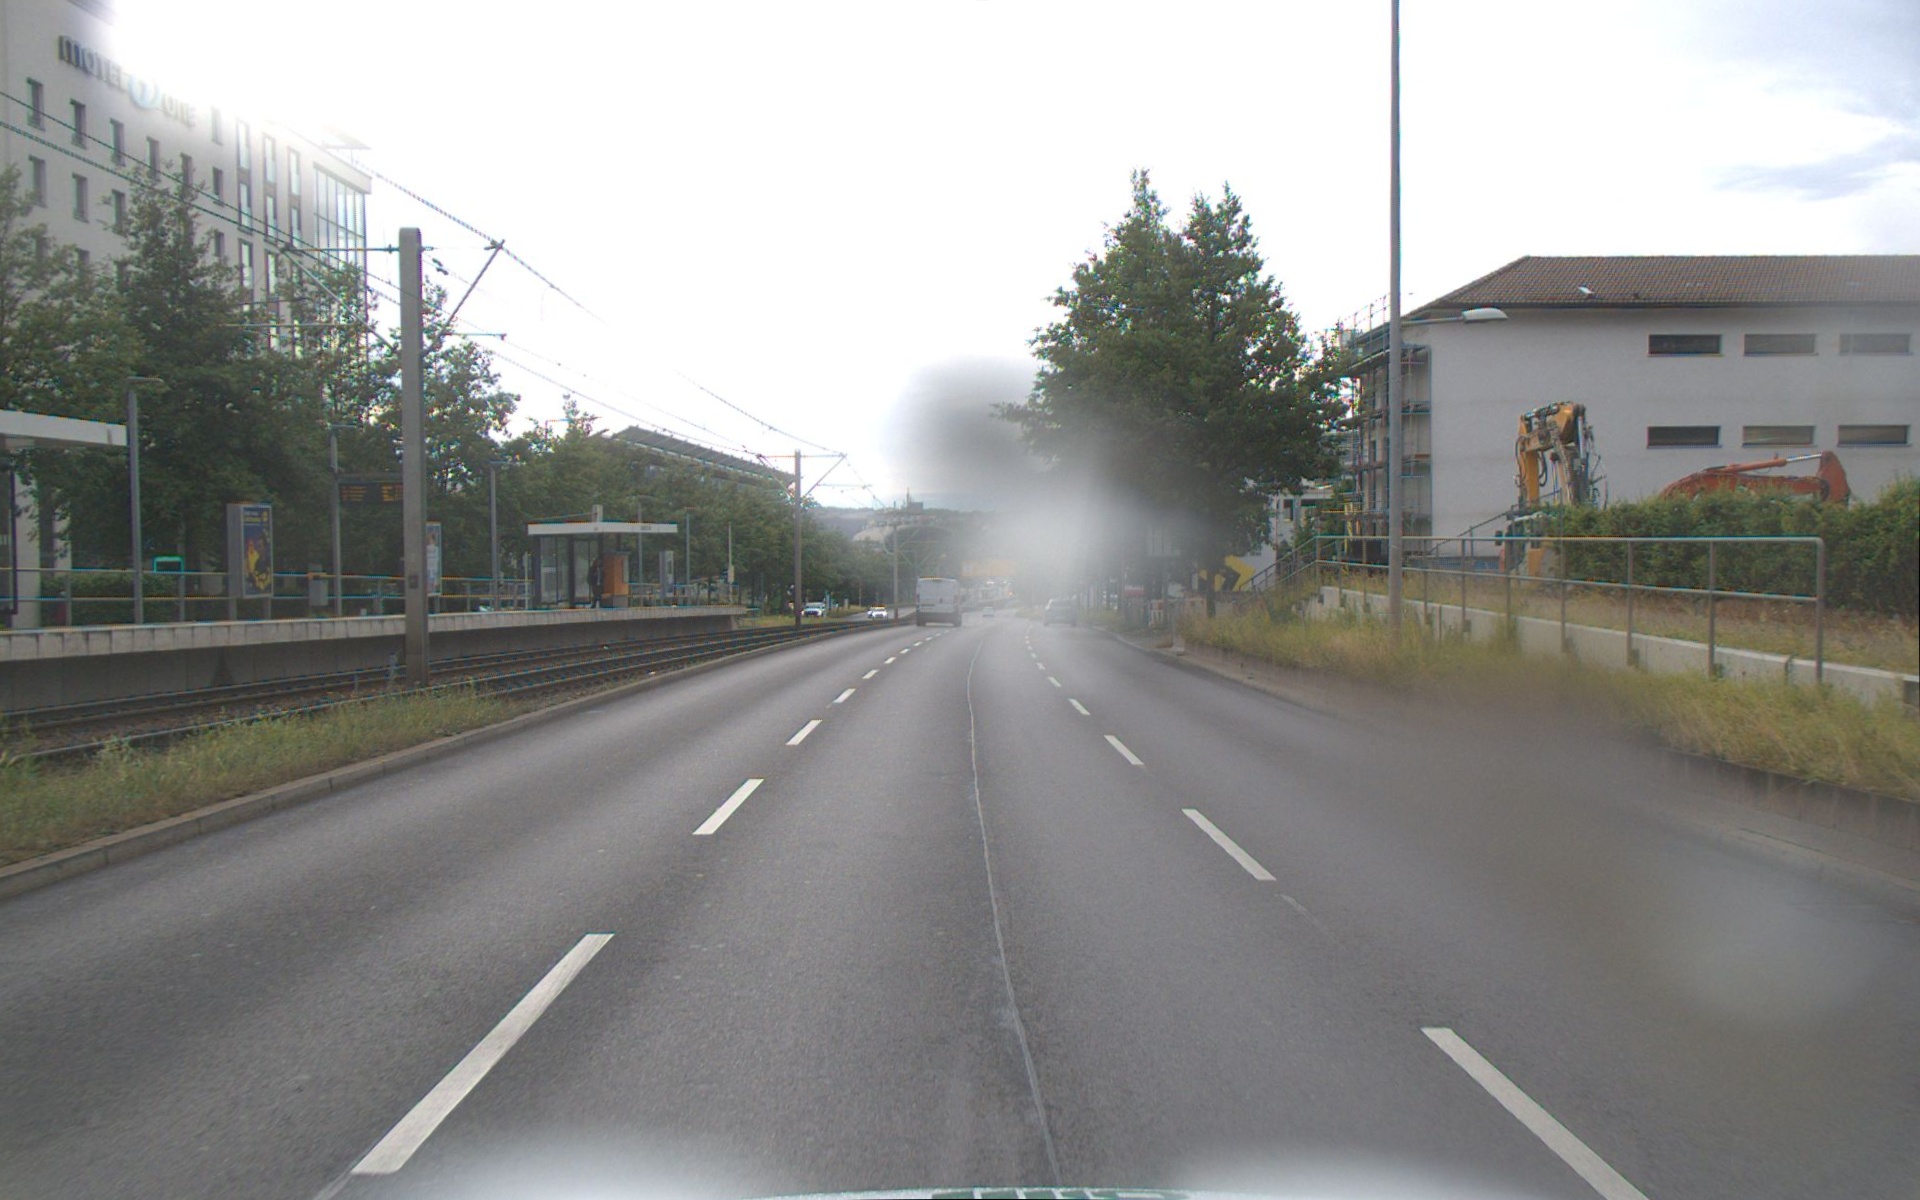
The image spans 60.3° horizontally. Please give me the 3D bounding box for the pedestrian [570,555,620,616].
[{"bbox_3d":[-12.608,-0.496,57.187,1.111,2.049,1.261,0,-1,44],"label":"pedestrian"}]

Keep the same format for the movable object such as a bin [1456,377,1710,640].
[{"bbox_3d":[15.197,-1.993,41.225,3.222,5.784,8.765,1,-1,2],"label":"movable object such as a bin"}]

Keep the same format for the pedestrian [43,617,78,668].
[{"bbox_3d":[-28.797,1.350,52.976,0.588,1.605,0.835,1,-1,1],"label":"pedestrian"}]

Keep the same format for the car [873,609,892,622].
[{"bbox_3d":[-9.294,1.884,197.758,1.799,1.469,4.430,-2,0,2],"label":"car"}]

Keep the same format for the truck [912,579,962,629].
[{"bbox_3d":[-1.076,0.236,80.656,2.312,2.301,5.305,1,-1,0],"label":"truck"}]

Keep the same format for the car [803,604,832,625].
[{"bbox_3d":[-12.991,1.305,150.932,1.952,1.879,5.003,-1,0,2],"label":"car"}]

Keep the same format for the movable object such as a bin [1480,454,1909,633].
[{"bbox_3d":[23.089,-1.707,52.513,11.893,5.354,3.788,-1,-1,-1],"label":"movable object such as a bin"}]

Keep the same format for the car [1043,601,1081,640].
[{"bbox_3d":[5.552,1.112,90.142,1.952,2.049,3.935,1,-1,2],"label":"car"}]
